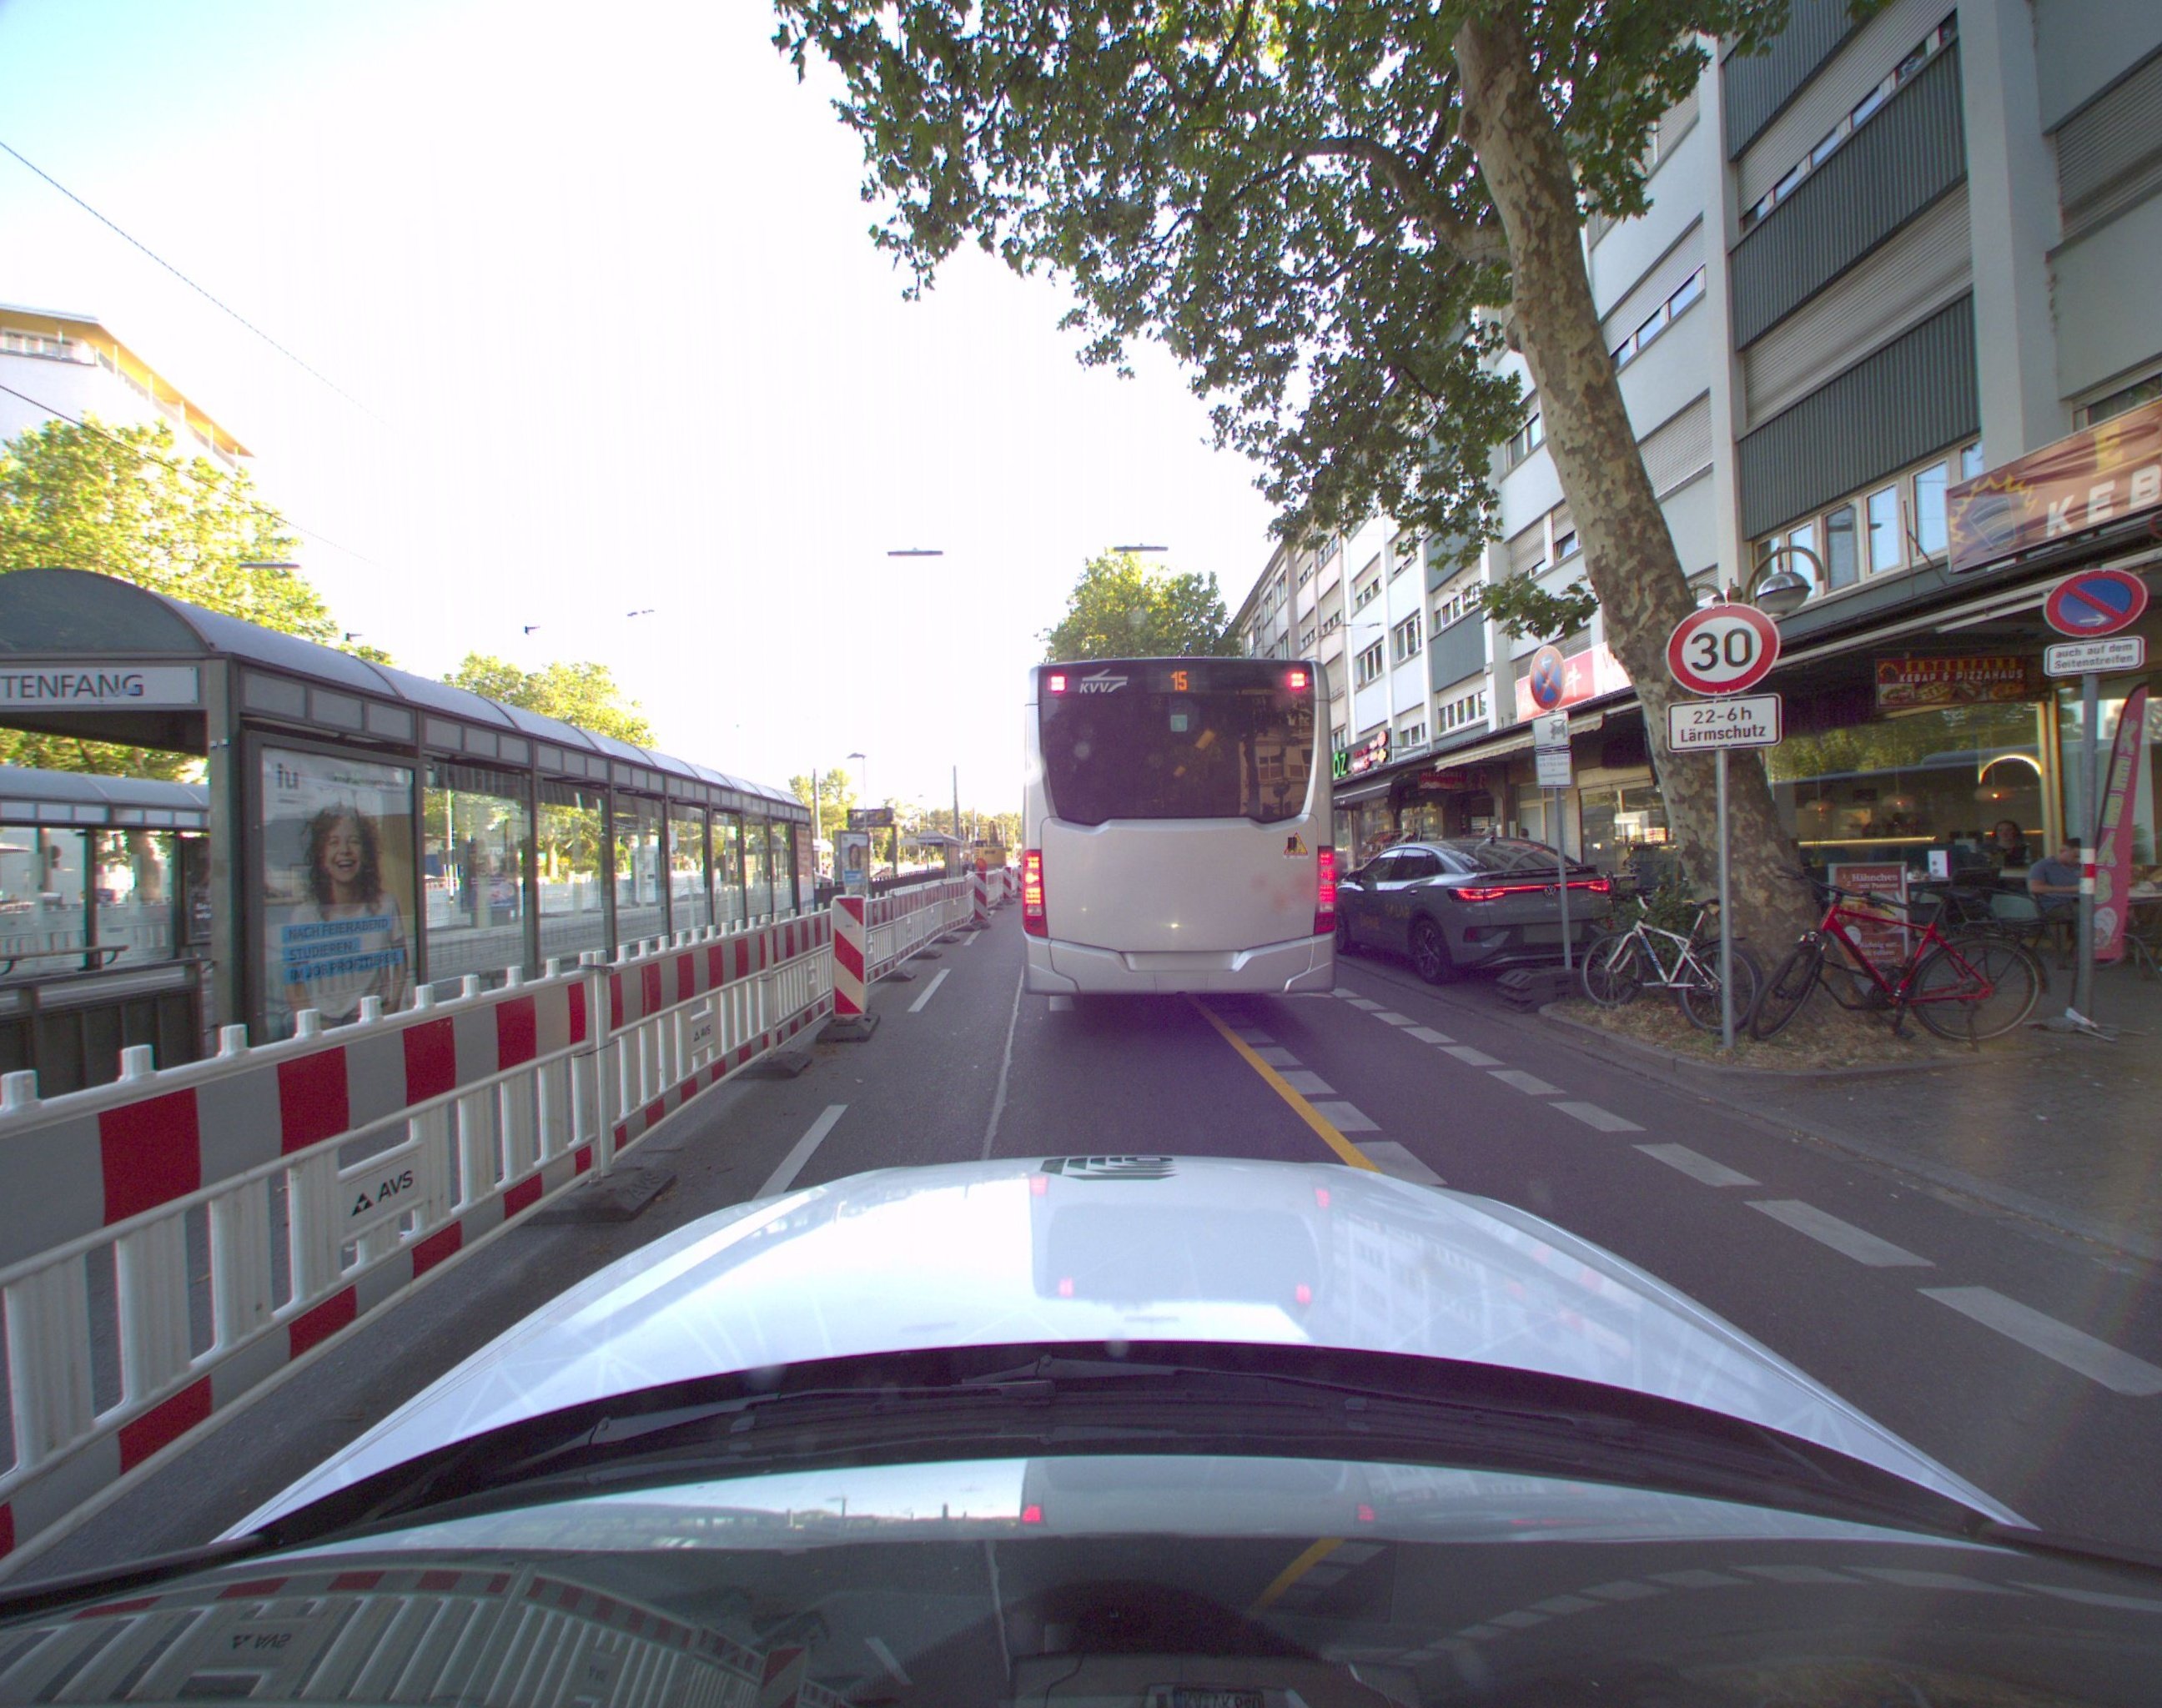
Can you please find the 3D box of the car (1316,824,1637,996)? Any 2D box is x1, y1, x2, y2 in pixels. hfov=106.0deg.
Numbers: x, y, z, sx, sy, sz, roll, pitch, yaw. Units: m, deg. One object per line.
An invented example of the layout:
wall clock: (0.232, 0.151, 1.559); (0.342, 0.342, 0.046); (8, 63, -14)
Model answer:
car: (4.591, 0.569, 10.306); (1.736, 1.597, 4.294); (-4, 0, -3)

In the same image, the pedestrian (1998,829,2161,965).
pedestrian: (9.610, 0.404, 7.839); (0.673, 1.203, 0.706); (-5, -1, 11)

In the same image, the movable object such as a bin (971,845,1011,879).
movable object such as a bin: (-7.048, 0.614, 64.002); (2.800, 2.462, 3.995); (-2, 0, -3)

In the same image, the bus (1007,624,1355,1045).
bus: (0.874, -0.114, 11.366); (2.599, 3.170, 10.293); (-1, -1, 1)

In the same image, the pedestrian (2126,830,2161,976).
pedestrian: (9.548, 0.407, 6.802); (0.612, 1.243, 0.714); (-5, -1, 11)

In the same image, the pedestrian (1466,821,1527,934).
pedestrian: (7.634, 0.428, 14.996); (0.689, 2.014, 0.695); (-2, -1, -4)

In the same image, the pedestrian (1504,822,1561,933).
pedestrian: (8.446, 0.425, 15.268); (0.611, 2.014, 0.696); (-2, -1, -1)

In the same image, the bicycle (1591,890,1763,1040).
bicycle: (4.467, 0.790, 6.181); (0.294, 0.928, 1.127); (-6, 2, -8)

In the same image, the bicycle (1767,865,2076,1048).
bicycle: (5.480, 0.681, 5.362); (1.450, 1.066, 0.297); (-5, 2, 13)
